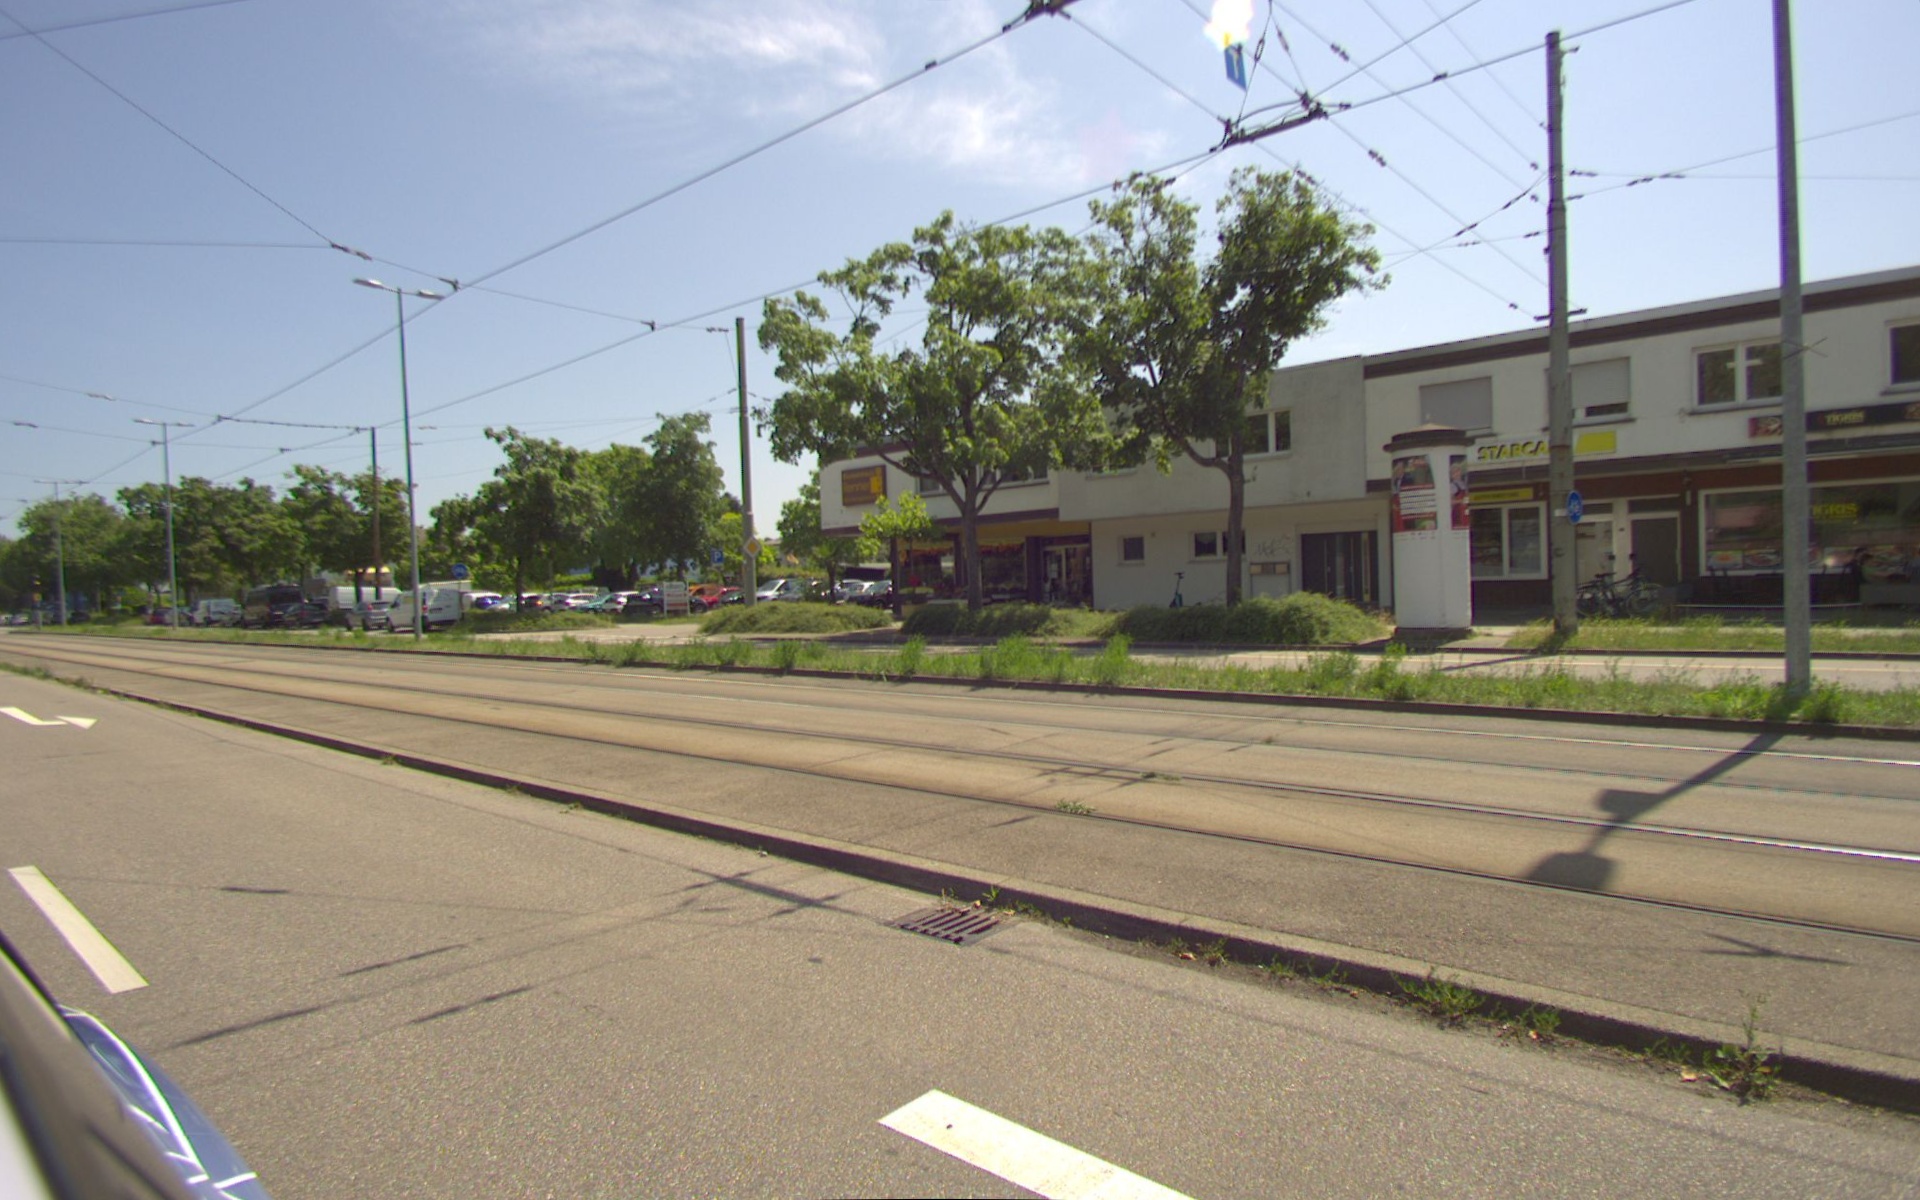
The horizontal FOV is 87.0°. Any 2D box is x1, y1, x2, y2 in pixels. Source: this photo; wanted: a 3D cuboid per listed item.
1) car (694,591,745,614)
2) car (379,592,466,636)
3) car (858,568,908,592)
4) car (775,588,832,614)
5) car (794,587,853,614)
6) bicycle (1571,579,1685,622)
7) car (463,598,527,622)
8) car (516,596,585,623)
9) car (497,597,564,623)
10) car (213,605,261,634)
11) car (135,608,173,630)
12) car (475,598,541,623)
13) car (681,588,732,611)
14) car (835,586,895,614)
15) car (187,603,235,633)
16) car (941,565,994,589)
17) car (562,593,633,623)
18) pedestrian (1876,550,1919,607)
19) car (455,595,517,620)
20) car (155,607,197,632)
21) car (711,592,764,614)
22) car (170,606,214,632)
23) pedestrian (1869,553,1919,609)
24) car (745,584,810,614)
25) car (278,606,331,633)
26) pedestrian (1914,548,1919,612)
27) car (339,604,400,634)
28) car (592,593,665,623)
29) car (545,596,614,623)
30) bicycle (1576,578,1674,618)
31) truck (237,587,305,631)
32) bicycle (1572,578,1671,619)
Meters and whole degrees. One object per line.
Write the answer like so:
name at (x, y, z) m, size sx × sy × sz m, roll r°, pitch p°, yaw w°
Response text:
car at (-16.944, 0.180, 71.400) m, size 1.504 × 1.469 × 3.315 m, roll -1°, pitch 1°, yaw 38°
car at (-25.041, 0.647, 47.067) m, size 4.659 × 1.897 × 1.973 m, roll -1°, pitch 1°, yaw 41°
car at (-6.660, -1.738, 87.690) m, size 2.000 × 2.029 × 3.944 m, roll -1°, pitch 1°, yaw 42°
car at (-9.909, 0.046, 64.127) m, size 1.532 × 1.549 × 3.450 m, roll -1°, pitch 1°, yaw 38°
car at (-8.339, 0.034, 62.062) m, size 1.622 × 1.549 × 3.450 m, roll -1°, pitch 1°, yaw 38°
bicycle at (14.143, 0.016, 21.461) m, size 1.958 × 0.854 × 0.596 m, roll -1°, pitch 3°, yaw 41°
car at (-29.864, 0.636, 65.026) m, size 1.600 × 1.404 × 3.375 m, roll -1°, pitch 1°, yaw 35°
car at (-23.832, 0.557, 58.959) m, size 1.600 × 1.404 × 3.375 m, roll -1°, pitch 1°, yaw 35°
car at (-26.013, 0.586, 61.372) m, size 1.600 × 1.404 × 3.375 m, roll -1°, pitch 1°, yaw 35°
car at (-48.238, 1.277, 67.518) m, size 3.866 × 1.807 × 1.660 m, roll -1°, pitch 1°, yaw 40°
car at (-65.320, 1.541, 82.004) m, size 3.820 × 1.716 × 1.660 m, roll -1°, pitch 1°, yaw 40°
car at (-28.001, 0.612, 62.744) m, size 1.600 × 1.404 × 3.375 m, roll -1°, pitch 1°, yaw 35°
car at (-18.420, -0.066, 73.654) m, size 1.504 × 1.573 × 3.315 m, roll -1°, pitch 1°, yaw 38°
car at (-5.703, -0.027, 61.079) m, size 1.622 × 1.549 × 3.450 m, roll -1°, pitch 1°, yaw 38°
car at (-52.540, 1.251, 70.957) m, size 4.506 × 1.989 × 1.660 m, roll -1°, pitch 1°, yaw 40°
car at (0.597, -1.785, 78.557) m, size 2.000 × 1.785 × 3.944 m, roll -1°, pitch 1°, yaw 42°
car at (-19.991, 0.450, 55.959) m, size 1.595 × 1.502 × 3.375 m, roll -1°, pitch 1°, yaw 35°
pedestrian at (19.771, -0.447, 21.305) m, size 0.674 × 1.172 × 0.512 m, roll -1°, pitch 1°, yaw 41°
car at (-31.407, 0.510, 67.114) m, size 1.600 × 1.517 × 3.375 m, roll -1°, pitch 1°, yaw 35°
car at (-60.294, 1.474, 77.843) m, size 4.199 × 1.807 × 1.660 m, roll -2°, pitch 0°, yaw 40°
car at (-15.235, 0.191, 69.429) m, size 1.504 × 1.400 × 3.315 m, roll -1°, pitch 1°, yaw 38°
car at (-56.964, 1.409, 75.015) m, size 4.199 × 1.807 × 1.660 m, roll -1°, pitch 1°, yaw 40°
pedestrian at (19.282, -0.392, 20.831) m, size 0.810 × 1.136 × 0.558 m, roll -1°, pitch 1°, yaw 41°
car at (-11.792, -0.108, 65.526) m, size 1.811 × 1.798 × 3.950 m, roll -1°, pitch 1°, yaw 38°
car at (-37.455, 1.120, 57.788) m, size 3.669 × 1.397 × 1.653 m, roll -1°, pitch 1°, yaw 43°
pedestrian at (19.266, -0.409, 20.033) m, size 0.491 × 1.248 × 0.569 m, roll -1°, pitch 1°, yaw 40°
car at (-29.867, 0.960, 51.173) m, size 3.568 × 1.397 × 1.653 m, roll -1°, pitch 1°, yaw 43°
car at (-17.934, 0.408, 54.823) m, size 1.790 × 1.502 × 3.375 m, roll -1°, pitch 1°, yaw 35°
car at (-21.757, 0.530, 57.919) m, size 1.600 × 1.404 × 3.375 m, roll -1°, pitch 1°, yaw 35°
bicycle at (15.096, -0.038, 22.993) m, size 1.786 × 0.854 × 0.523 m, roll -1°, pitch 3°, yaw 41°
truck at (-42.083, 0.567, 61.737) m, size 4.926 × 2.560 × 2.197 m, roll -1°, pitch 1°, yaw 41°
bicycle at (14.737, -0.030, 22.571) m, size 1.786 × 0.854 × 0.523 m, roll -1°, pitch 3°, yaw 41°
